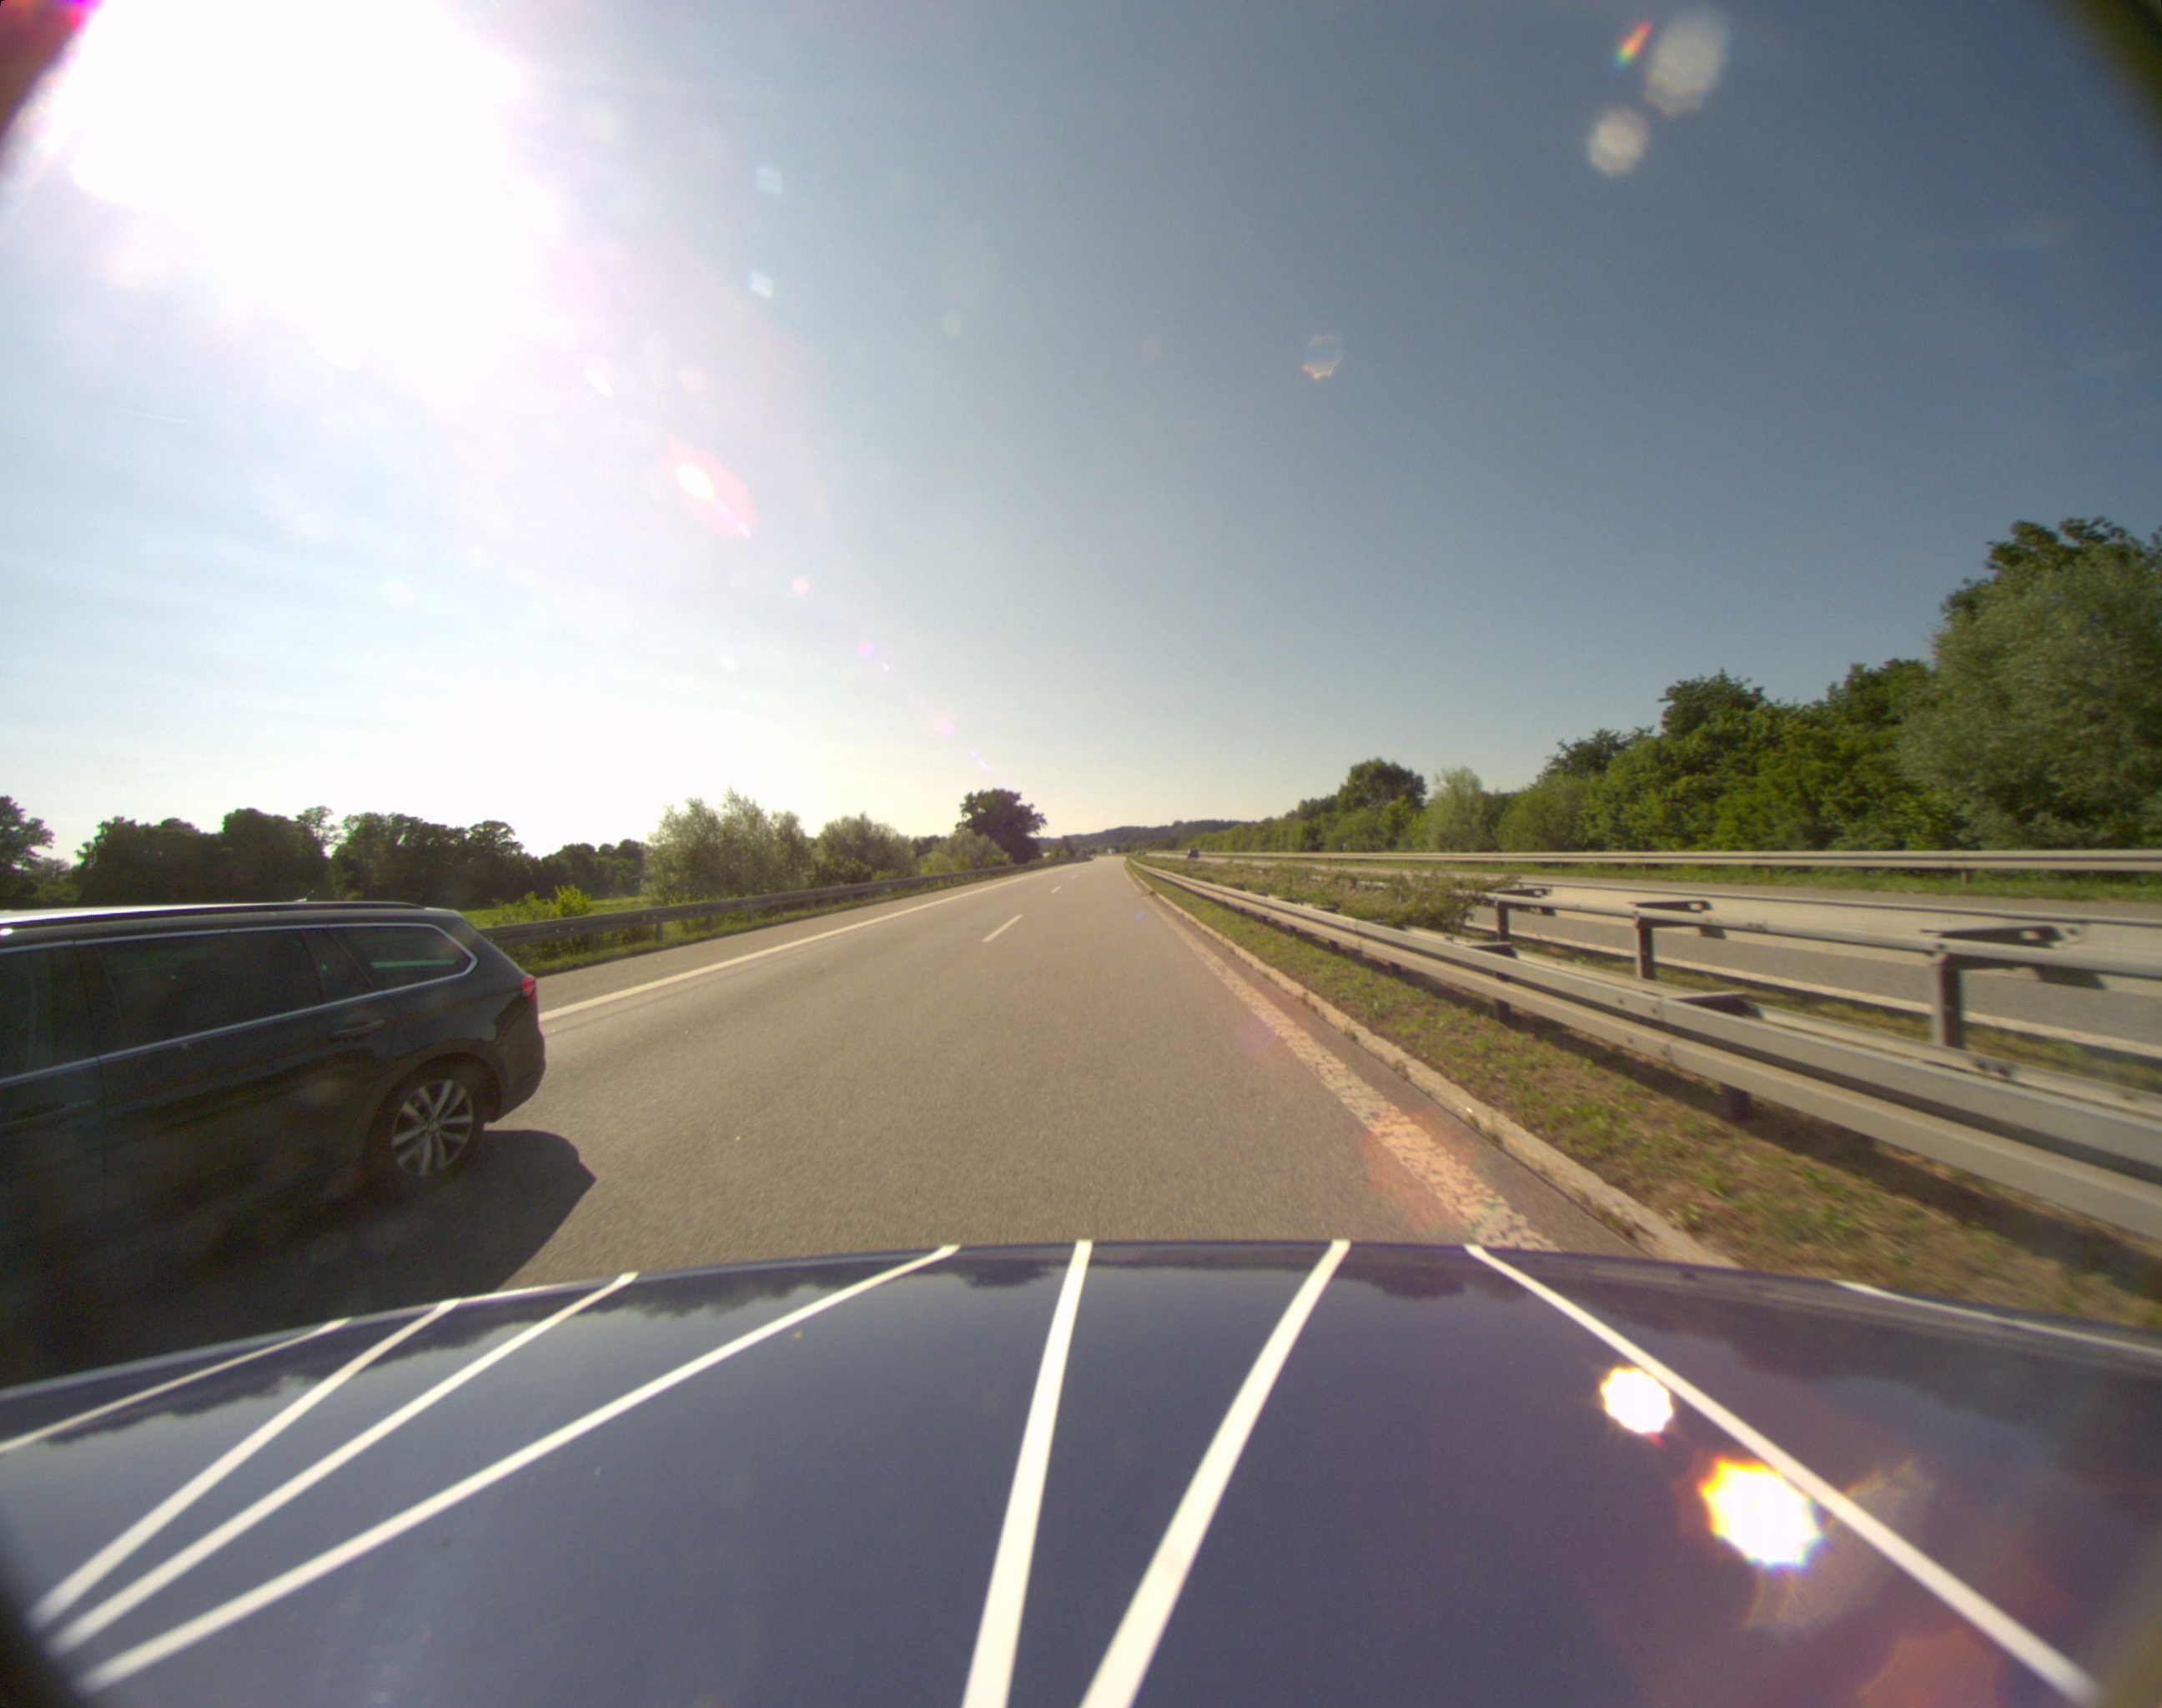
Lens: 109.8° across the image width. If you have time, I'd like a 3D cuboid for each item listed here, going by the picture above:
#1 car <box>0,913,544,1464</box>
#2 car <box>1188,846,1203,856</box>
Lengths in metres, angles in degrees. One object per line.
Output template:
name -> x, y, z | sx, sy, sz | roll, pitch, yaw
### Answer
car -> -3.979, 1.081, 2.118 | 1.723, 1.391, 4.413 | -2, 1, 1
car -> 17.291, -0.405, 115.074 | 1.680, 1.433, 4.000 | -1, 0, 2
